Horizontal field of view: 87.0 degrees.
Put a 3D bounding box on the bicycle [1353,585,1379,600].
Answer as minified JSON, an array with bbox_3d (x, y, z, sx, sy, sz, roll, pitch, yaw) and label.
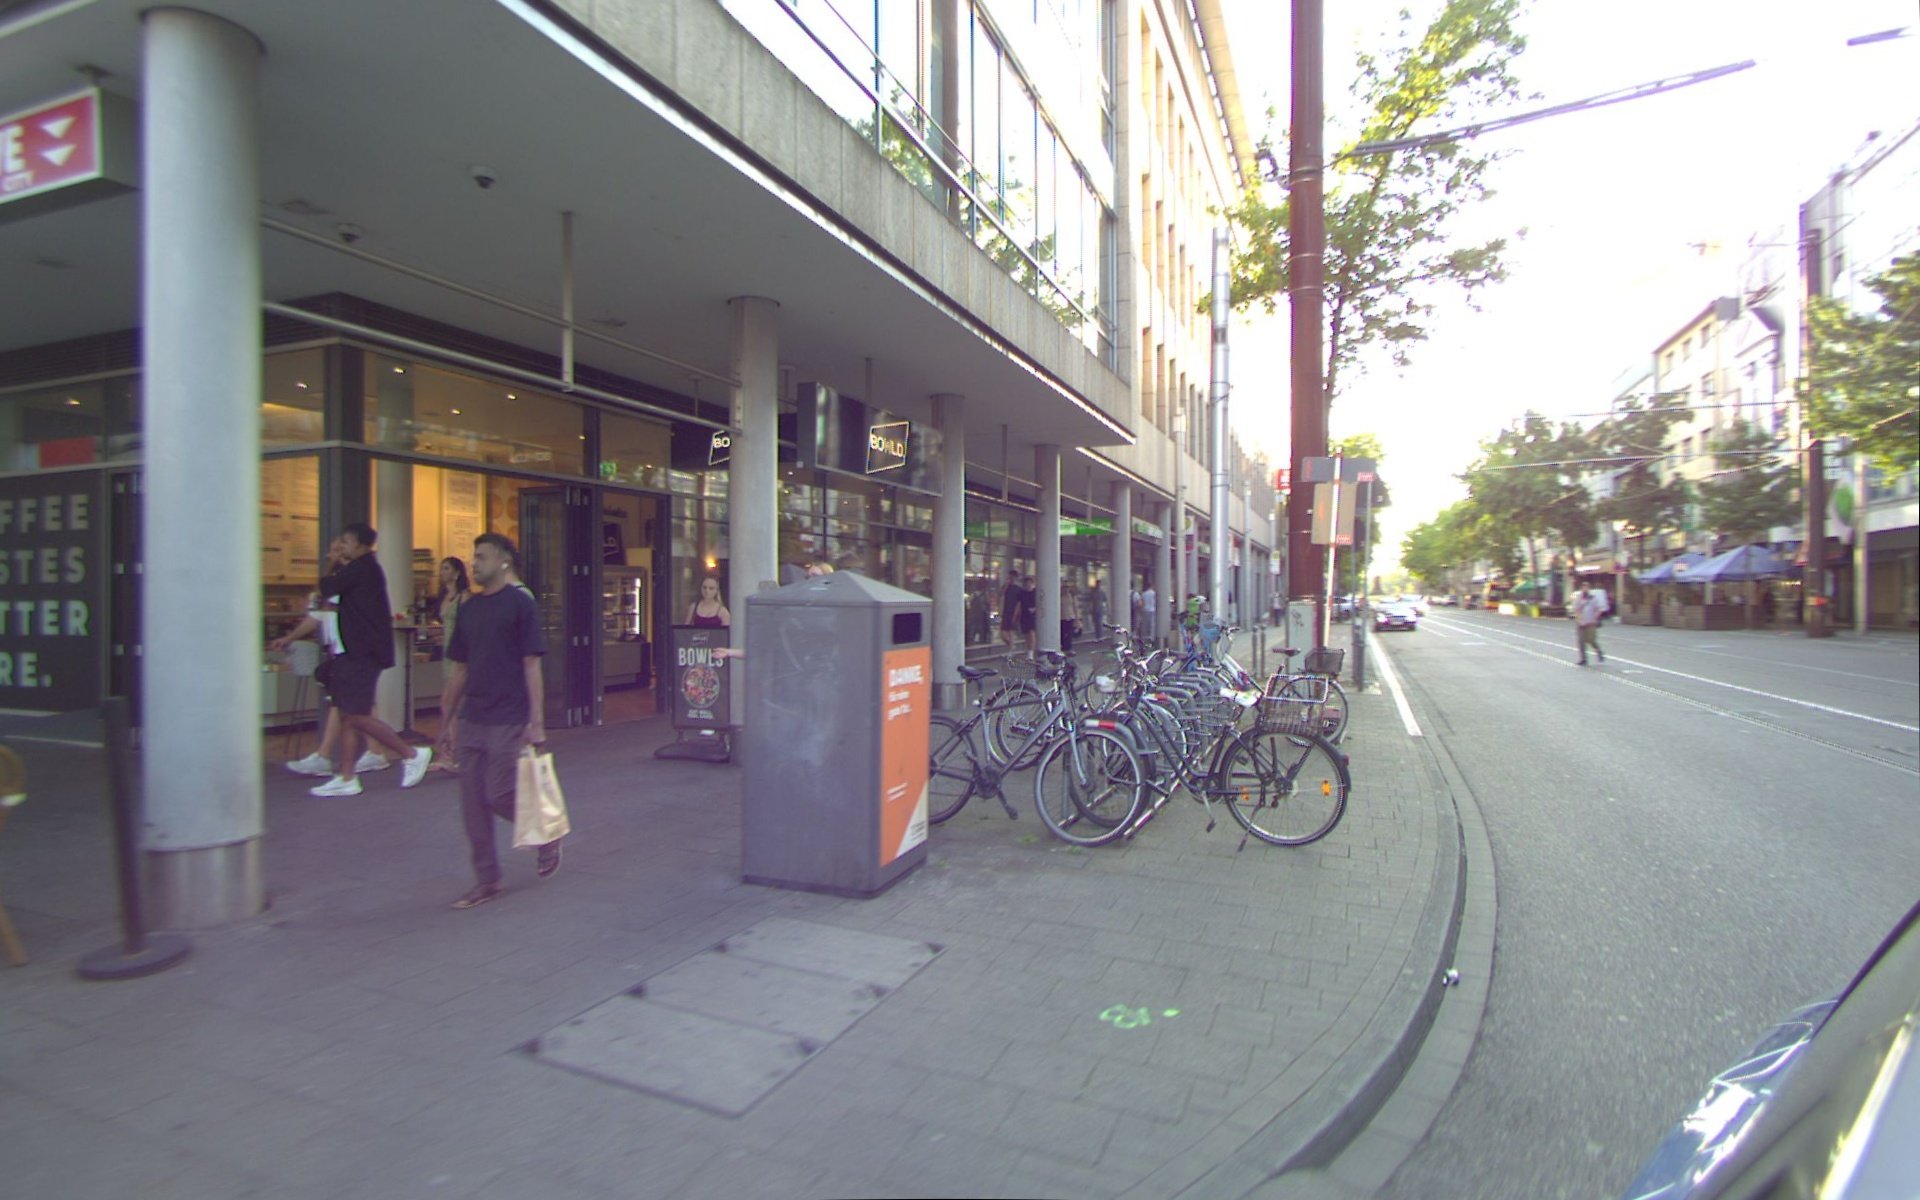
[{"bbox_3d":[31.470,-0.596,78.507,1.844,1.087,0.727,-1,0,22],"label":"bicycle"}]

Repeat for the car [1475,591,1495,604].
[{"bbox_3d":[62.372,-0.307,120.382,1.780,1.529,3.969,0,0,23],"label":"car"}]

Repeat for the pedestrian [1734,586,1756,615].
[{"bbox_3d":[40.346,0.014,52.014,0.655,1.452,0.638,-5,-1,23],"label":"pedestrian"}]

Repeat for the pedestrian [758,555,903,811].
[{"bbox_3d":[-0.908,0.546,7.267,0.793,1.716,0.807,1,0,13],"label":"pedestrian"}]

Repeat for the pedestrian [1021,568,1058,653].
[{"bbox_3d":[1.688,0.212,21.513,0.577,1.775,0.768,1,0,21],"label":"pedestrian"}]

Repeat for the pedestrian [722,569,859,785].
[{"bbox_3d":[-1.289,0.550,7.813,0.793,1.556,0.807,1,0,13],"label":"pedestrian"}]

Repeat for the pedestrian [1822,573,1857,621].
[{"bbox_3d":[34.619,-0.114,39.852,0.678,1.815,0.983,-3,-1,23],"label":"pedestrian"}]

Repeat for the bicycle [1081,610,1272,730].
[{"bbox_3d":[2.392,0.734,11.180,1.976,1.169,0.721,2,0,19],"label":"bicycle"}]

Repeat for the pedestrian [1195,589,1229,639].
[{"bbox_3d":[7.164,0.392,28.769,0.807,1.398,0.657,-1,0,24],"label":"pedestrian"}]

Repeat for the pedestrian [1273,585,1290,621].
[{"bbox_3d":[14.672,0.126,46.169,0.663,1.608,0.633,-2,-1,22],"label":"pedestrian"}]

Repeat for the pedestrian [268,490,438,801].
[{"bbox_3d":[-4.259,0.290,7.133,0.681,2.039,0.776,1,0,23],"label":"pedestrian"}]

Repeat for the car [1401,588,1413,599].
[{"bbox_3d":[82.428,-1.233,186.690,1.977,2.039,3.969,0,0,23],"label":"car"}]

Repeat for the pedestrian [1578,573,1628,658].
[{"bbox_3d":[14.013,0.343,22.078,0.815,1.816,0.979,-2,-2,31],"label":"pedestrian"}]

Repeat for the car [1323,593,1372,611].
[{"bbox_3d":[37.434,0.222,97.790,3.919,1.529,1.867,-3,-1,-7],"label":"car"}]

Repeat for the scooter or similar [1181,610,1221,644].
[{"bbox_3d":[6.444,0.723,27.066,0.831,0.895,0.678,-2,-1,37],"label":"scooter or similar"}]

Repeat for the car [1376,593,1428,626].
[{"bbox_3d":[20.656,0.421,47.211,1.784,1.426,4.519,-2,0,29],"label":"car"}]

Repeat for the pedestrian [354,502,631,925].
[{"bbox_3d":[-2.152,0.455,4.734,0.757,1.740,0.916,1,1,24],"label":"pedestrian"}]

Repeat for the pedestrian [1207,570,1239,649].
[{"bbox_3d":[6.358,0.211,24.453,0.663,1.862,0.703,1,0,22],"label":"pedestrian"}]

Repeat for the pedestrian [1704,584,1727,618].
[{"bbox_3d":[36.288,0.041,48.603,0.650,1.572,0.561,-3,-1,21],"label":"pedestrian"}]

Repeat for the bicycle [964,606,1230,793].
[{"bbox_3d":[1.060,0.704,7.773,1.896,1.238,0.759,2,0,19],"label":"bicycle"}]

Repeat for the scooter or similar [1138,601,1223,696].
[{"bbox_3d":[3.058,0.662,14.024,1.167,1.267,0.394,1,0,-29],"label":"scooter or similar"}]

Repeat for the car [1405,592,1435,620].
[{"bbox_3d":[35.388,0.437,77.971,1.977,2.039,3.969,0,0,23],"label":"car"}]

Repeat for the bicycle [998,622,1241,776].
[{"bbox_3d":[1.340,0.776,8.459,1.896,1.091,0.759,2,0,19],"label":"bicycle"}]

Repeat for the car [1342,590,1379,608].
[{"bbox_3d":[45.021,-0.106,113.722,3.923,1.809,1.865,-2,-1,-33],"label":"car"}]

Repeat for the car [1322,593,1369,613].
[{"bbox_3d":[38.943,0.306,102.234,3.923,1.809,1.865,-3,-1,-1],"label":"car"}]

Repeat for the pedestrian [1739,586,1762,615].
[{"bbox_3d":[40.089,0.023,51.347,0.655,1.452,0.638,-5,-1,23],"label":"pedestrian"}]

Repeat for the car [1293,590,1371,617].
[{"bbox_3d":[25.130,0.219,68.354,4.542,1.650,1.921,2,-1,-9],"label":"car"}]

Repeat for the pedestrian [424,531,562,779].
[{"bbox_3d":[-3.603,0.394,7.837,0.657,1.809,0.714,1,0,23],"label":"pedestrian"}]

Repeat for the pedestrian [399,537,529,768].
[{"bbox_3d":[-4.091,0.400,8.379,0.657,1.809,0.714,1,0,23],"label":"pedestrian"}]

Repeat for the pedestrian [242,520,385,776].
[{"bbox_3d":[-5.000,0.341,7.844,0.659,1.871,0.712,1,0,28],"label":"pedestrian"}]

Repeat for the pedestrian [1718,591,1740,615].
[{"bbox_3d":[38.830,0.161,51.116,0.635,1.171,0.661,-3,-1,21],"label":"pedestrian"}]

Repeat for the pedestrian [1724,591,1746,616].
[{"bbox_3d":[38.400,0.175,50.139,0.635,1.171,0.661,-3,-1,21],"label":"pedestrian"}]

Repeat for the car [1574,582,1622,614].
[{"bbox_3d":[39.894,-0.112,63.404,1.812,1.845,4.294,-3,-1,24],"label":"car"}]

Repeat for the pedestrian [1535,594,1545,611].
[{"bbox_3d":[49.059,0.191,85.600,0.644,1.404,0.643,0,0,30],"label":"pedestrian"}]

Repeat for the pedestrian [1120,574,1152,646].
[{"bbox_3d":[4.643,0.248,26.650,0.663,1.862,0.873,1,0,23],"label":"pedestrian"}]

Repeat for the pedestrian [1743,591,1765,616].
[{"bbox_3d":[39.190,0.161,49.950,0.635,1.171,0.661,-3,-1,21],"label":"pedestrian"}]

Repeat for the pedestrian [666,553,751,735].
[{"bbox_3d":[-2.503,0.416,10.117,0.565,1.753,0.613,1,0,22],"label":"pedestrian"}]

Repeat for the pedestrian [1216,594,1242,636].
[{"bbox_3d":[8.596,0.469,32.350,0.712,1.331,0.520,-1,0,24],"label":"pedestrian"}]

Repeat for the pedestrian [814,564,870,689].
[{"bbox_3d":[-1.682,0.362,14.483,0.565,1.753,0.613,1,0,22],"label":"pedestrian"}]

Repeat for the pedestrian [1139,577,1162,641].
[{"bbox_3d":[5.522,0.248,29.293,0.534,1.829,0.600,1,0,22],"label":"pedestrian"}]

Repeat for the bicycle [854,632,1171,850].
[{"bbox_3d":[0.321,0.801,6.245,1.836,1.123,0.662,1,0,21],"label":"bicycle"}]

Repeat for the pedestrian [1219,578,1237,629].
[{"bbox_3d":[10.589,0.136,39.974,0.573,1.968,0.650,1,0,23],"label":"pedestrian"}]

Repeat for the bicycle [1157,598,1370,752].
[{"bbox_3d":[2.945,0.685,9.914,1.896,1.349,0.721,2,0,19],"label":"bicycle"}]

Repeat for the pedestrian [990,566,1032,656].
[{"bbox_3d":[1.108,0.221,21.837,0.681,1.906,0.768,1,0,22],"label":"pedestrian"}]

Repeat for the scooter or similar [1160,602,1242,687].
[{"bbox_3d":[3.653,0.667,15.379,1.093,1.267,0.497,1,0,-7],"label":"scooter or similar"}]

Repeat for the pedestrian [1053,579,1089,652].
[{"bbox_3d":[2.595,0.346,23.661,0.643,1.682,0.675,1,0,24],"label":"pedestrian"}]

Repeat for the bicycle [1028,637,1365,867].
[{"bbox_3d":[1.382,0.827,5.983,1.836,1.123,0.662,1,0,21],"label":"bicycle"}]

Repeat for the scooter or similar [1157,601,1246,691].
[{"bbox_3d":[3.479,0.664,14.621,1.167,1.267,0.394,1,0,-6],"label":"scooter or similar"}]
